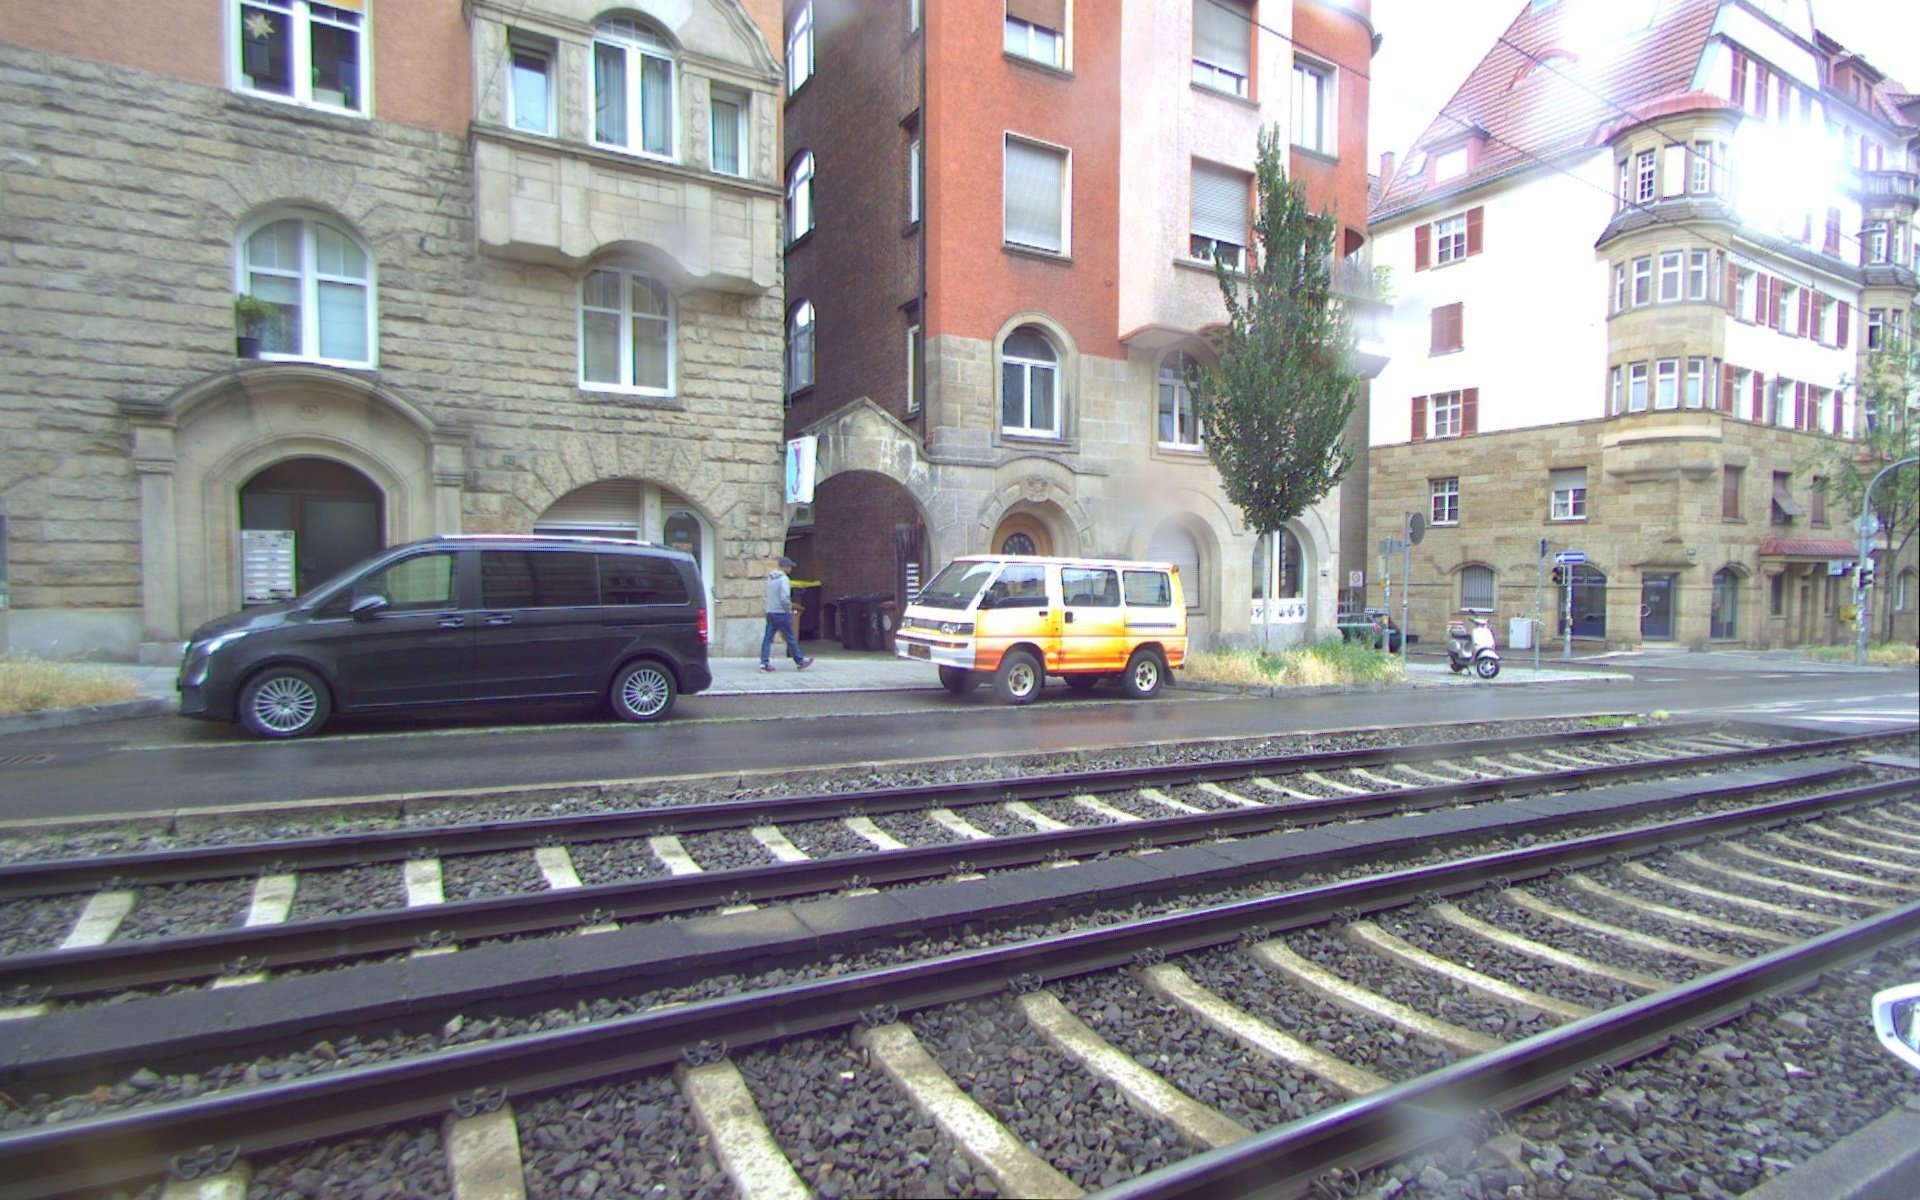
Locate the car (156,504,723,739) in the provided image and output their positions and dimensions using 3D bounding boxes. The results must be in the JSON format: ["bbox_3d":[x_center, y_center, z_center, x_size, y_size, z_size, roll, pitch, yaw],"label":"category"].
[{"bbox_3d":[-5.103,0.239,10.419,4.777,1.956,1.896,2,0,-31],"label":"car"}]

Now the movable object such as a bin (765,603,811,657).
[{"bbox_3d":[-2.990,0.520,17.477,0.647,0.910,0.544,2,0,-27],"label":"movable object such as a bin"}]

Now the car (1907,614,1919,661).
[{"bbox_3d":[34.146,1.325,34.268,4.130,1.549,1.680,2,0,-32],"label":"car"}]

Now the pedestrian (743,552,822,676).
[{"bbox_3d":[-2.655,0.205,14.979,0.882,1.743,0.713,2,6,-30],"label":"pedestrian"}]

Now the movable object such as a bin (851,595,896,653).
[{"bbox_3d":[-1.635,0.447,18.945,0.648,1.058,0.545,2,0,-29],"label":"movable object such as a bin"}]

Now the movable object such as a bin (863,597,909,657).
[{"bbox_3d":[-1.368,0.494,18.452,0.648,1.058,0.545,2,0,-29],"label":"movable object such as a bin"}]

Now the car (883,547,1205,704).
[{"bbox_3d":[1.267,0.371,14.384,4.426,1.956,1.719,2,0,-32],"label":"car"}]

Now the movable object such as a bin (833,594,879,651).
[{"bbox_3d":[-2.016,0.430,19.453,0.648,1.058,0.676,2,0,-29],"label":"movable object such as a bin"}]

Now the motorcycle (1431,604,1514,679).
[{"bbox_3d":[10.162,0.799,19.976,0.752,1.393,1.785,2,0,2],"label":"motorcycle"}]

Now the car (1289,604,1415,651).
[{"bbox_3d":[14.569,1.002,37.485,1.979,1.595,3.963,2,0,-33],"label":"car"}]
